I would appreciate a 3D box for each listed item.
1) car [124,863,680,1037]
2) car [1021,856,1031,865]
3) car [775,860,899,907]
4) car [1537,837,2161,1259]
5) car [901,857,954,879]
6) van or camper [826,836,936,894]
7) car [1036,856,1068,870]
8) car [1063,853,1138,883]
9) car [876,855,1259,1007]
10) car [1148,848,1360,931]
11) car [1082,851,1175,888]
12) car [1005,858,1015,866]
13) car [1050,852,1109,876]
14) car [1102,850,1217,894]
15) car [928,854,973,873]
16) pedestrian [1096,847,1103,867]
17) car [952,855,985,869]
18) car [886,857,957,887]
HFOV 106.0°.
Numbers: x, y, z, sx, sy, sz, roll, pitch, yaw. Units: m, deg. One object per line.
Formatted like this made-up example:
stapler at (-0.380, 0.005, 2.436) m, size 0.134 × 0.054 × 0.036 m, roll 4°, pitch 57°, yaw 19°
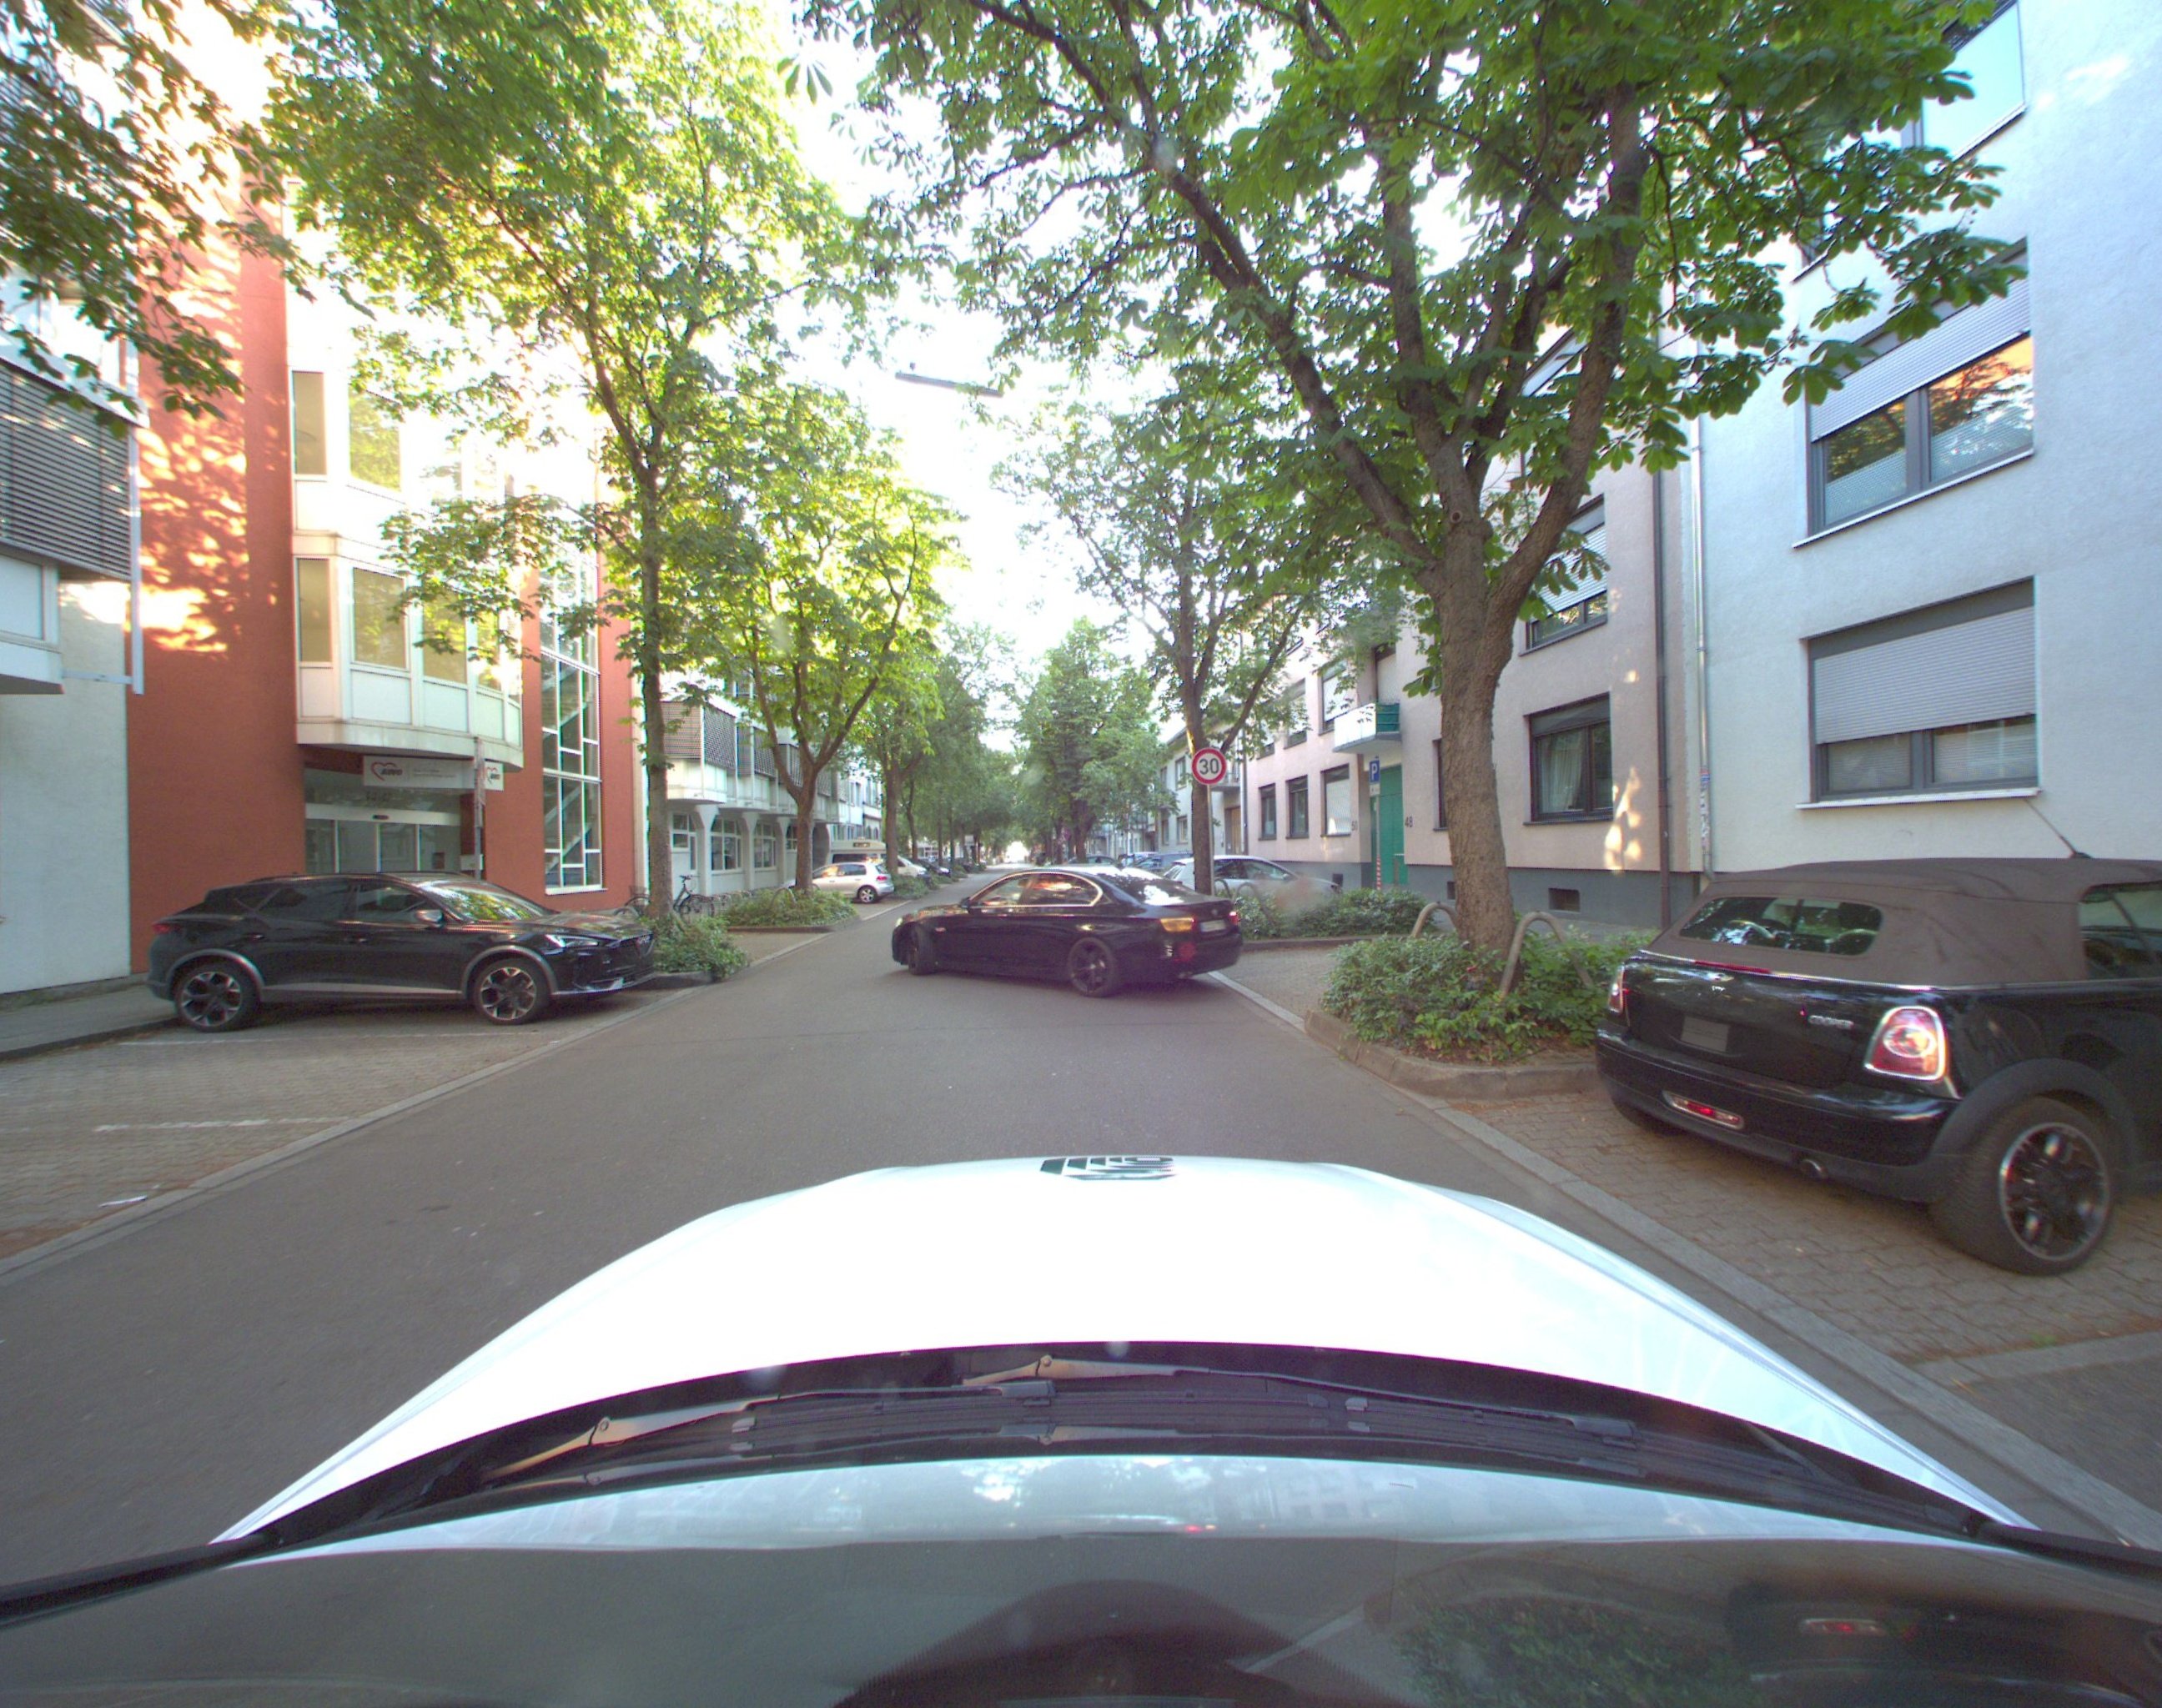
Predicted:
car at (-7.001, 0.928, 8.840) m, size 4.347 × 1.517 × 1.782 m, roll -2°, pitch 0°, yaw -5°
car at (-10.550, 1.266, 156.306) m, size 1.819 × 1.530 × 3.995 m, roll -2°, pitch 0°, yaw -4°
car at (-8.815, 1.041, 29.653) m, size 3.960 × 1.517 × 1.783 m, roll -2°, pitch 0°, yaw -4°
car at (4.366, 0.633, 3.830) m, size 3.608 × 1.363 × 1.660 m, roll -2°, pitch 0°, yaw -8°
car at (-12.346, 1.085, 65.538) m, size 3.959 × 1.619 × 1.783 m, roll -2°, pitch 0°, yaw -4°
van or camper at (-9.255, 0.491, 37.987) m, size 4.656 × 2.478 × 1.997 m, roll -1°, pitch 0°, yaw -5°
car at (-3.656, 1.089, 101.620) m, size 3.959 × 1.684 × 1.783 m, roll -2°, pitch 0°, yaw -4°
car at (1.058, 0.757, 45.648) m, size 3.962 × 1.527 × 1.782 m, roll -2°, pitch 0°, yaw -5°
car at (-0.339, 0.813, 10.250) m, size 4.699 × 1.480 × 1.812 m, roll -1°, pitch 0°, yaw 38°
car at (3.465, 0.679, 16.681) m, size 3.904 × 1.476 × 1.661 m, roll -2°, pitch 0°, yaw -7°
car at (2.112, 0.678, 36.805) m, size 3.962 × 1.527 × 1.782 m, roll -2°, pitch 0°, yaw -5°
car at (-13.568, 1.543, 156.373) m, size 1.775 × 1.562 × 4.163 m, roll -1°, pitch 0°, yaw -4°
car at (-0.127, 0.677, 57.552) m, size 3.963 × 1.527 × 1.781 m, roll -2°, pitch 0°, yaw -6°
car at (2.866, 0.636, 30.327) m, size 3.963 × 1.476 × 1.781 m, roll -2°, pitch 0°, yaw -7°
car at (-12.371, 0.879, 77.220) m, size 3.959 × 1.619 × 1.783 m, roll -2°, pitch 0°, yaw -4°
pedestrian at (1.910, 0.267, 82.437) m, size 0.587 × 2.013 × 0.669 m, roll -2°, pitch 0°, yaw -3°
car at (-14.379, 0.986, 104.051) m, size 3.959 × 1.619 × 1.783 m, roll -2°, pitch 0°, yaw -4°
car at (-9.551, 1.055, 48.990) m, size 3.960 × 1.619 × 1.783 m, roll -2°, pitch 0°, yaw -4°
